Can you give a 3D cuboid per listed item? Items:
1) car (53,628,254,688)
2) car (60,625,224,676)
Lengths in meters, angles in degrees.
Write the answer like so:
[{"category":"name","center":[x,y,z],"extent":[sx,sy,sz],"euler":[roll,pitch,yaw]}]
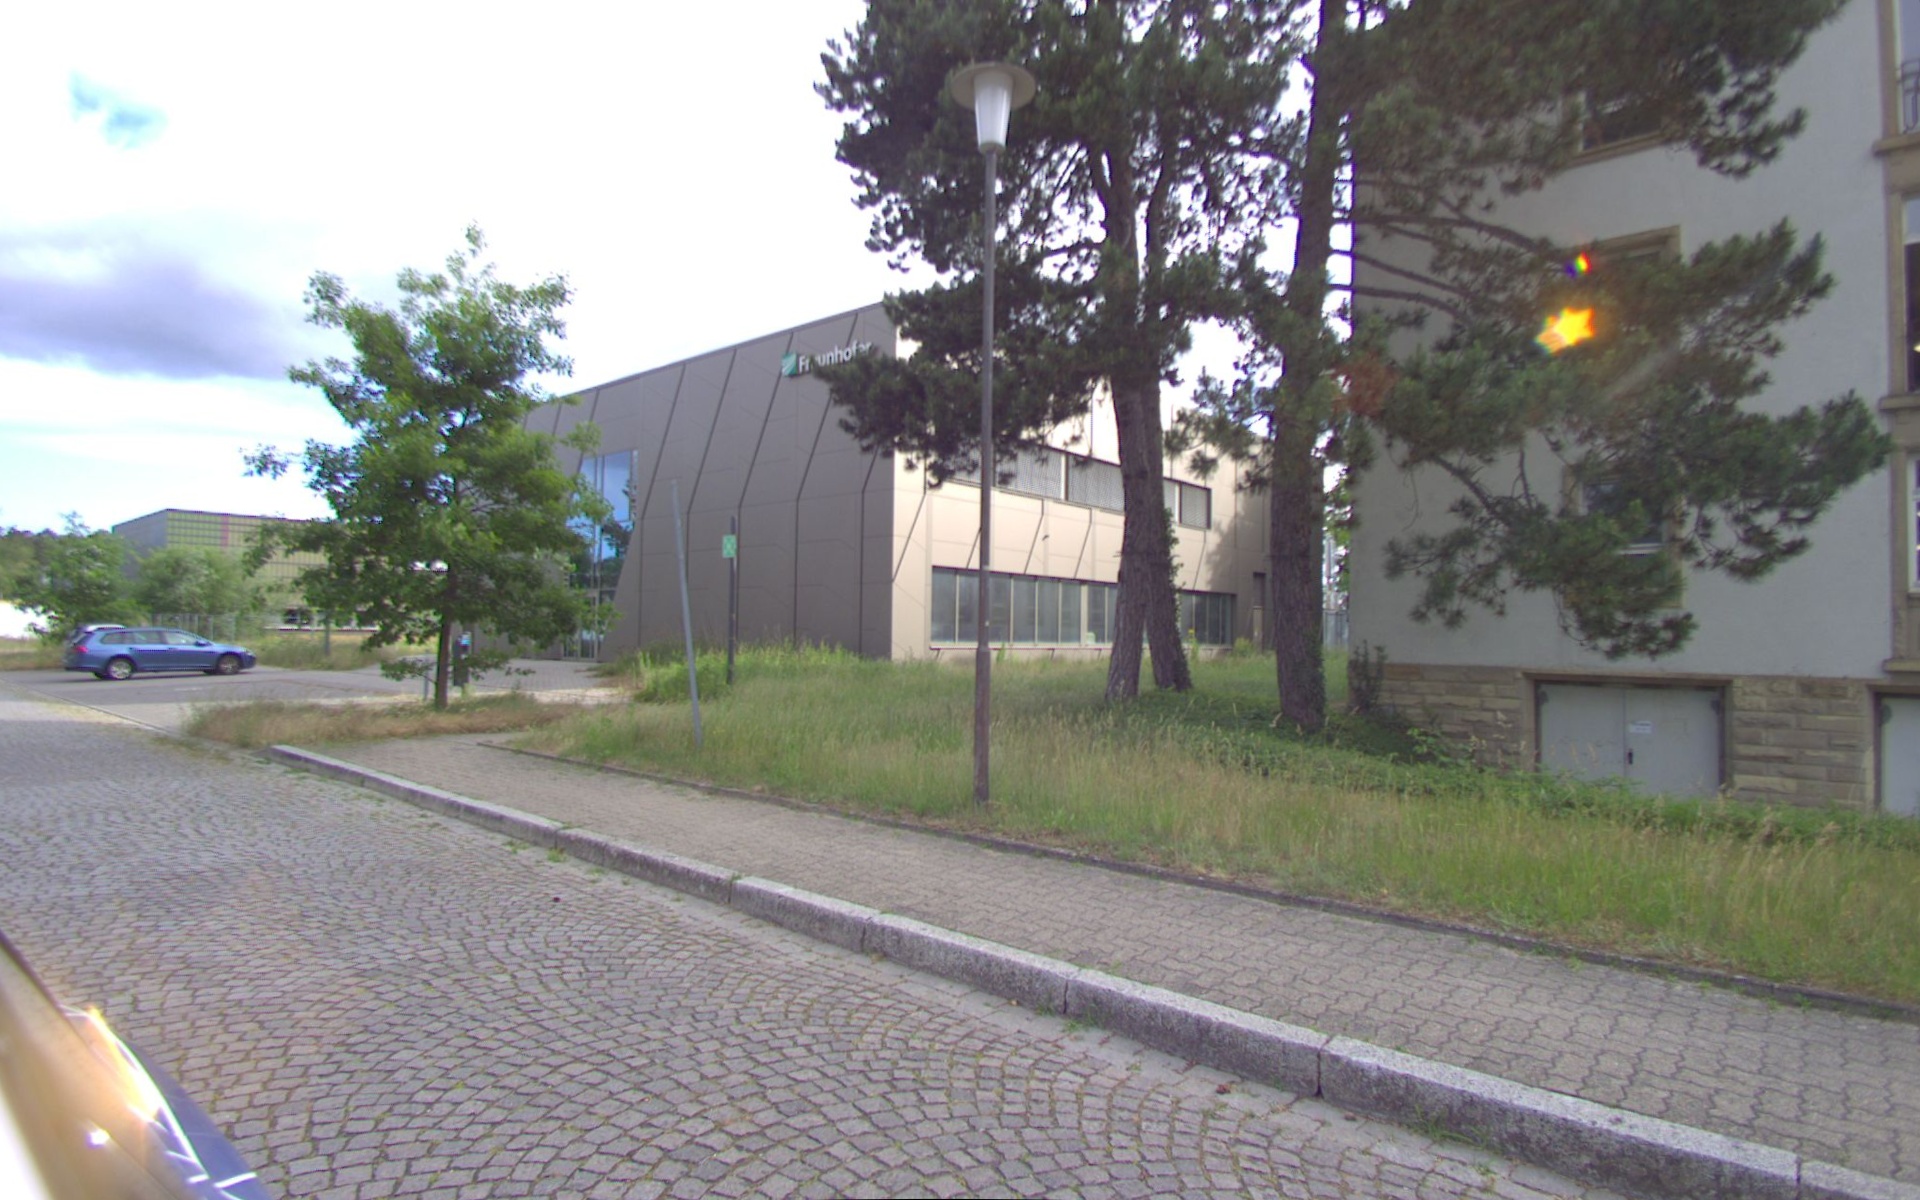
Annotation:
[{"category":"car","center":[-23.635,1.628,29.803],"extent":[1.715,1.522,4.350],"euler":[-1,0,38]},{"category":"car","center":[-28.509,1.705,35.346],"extent":[4.339,1.557,1.843],"euler":[0,-1,-43]}]
